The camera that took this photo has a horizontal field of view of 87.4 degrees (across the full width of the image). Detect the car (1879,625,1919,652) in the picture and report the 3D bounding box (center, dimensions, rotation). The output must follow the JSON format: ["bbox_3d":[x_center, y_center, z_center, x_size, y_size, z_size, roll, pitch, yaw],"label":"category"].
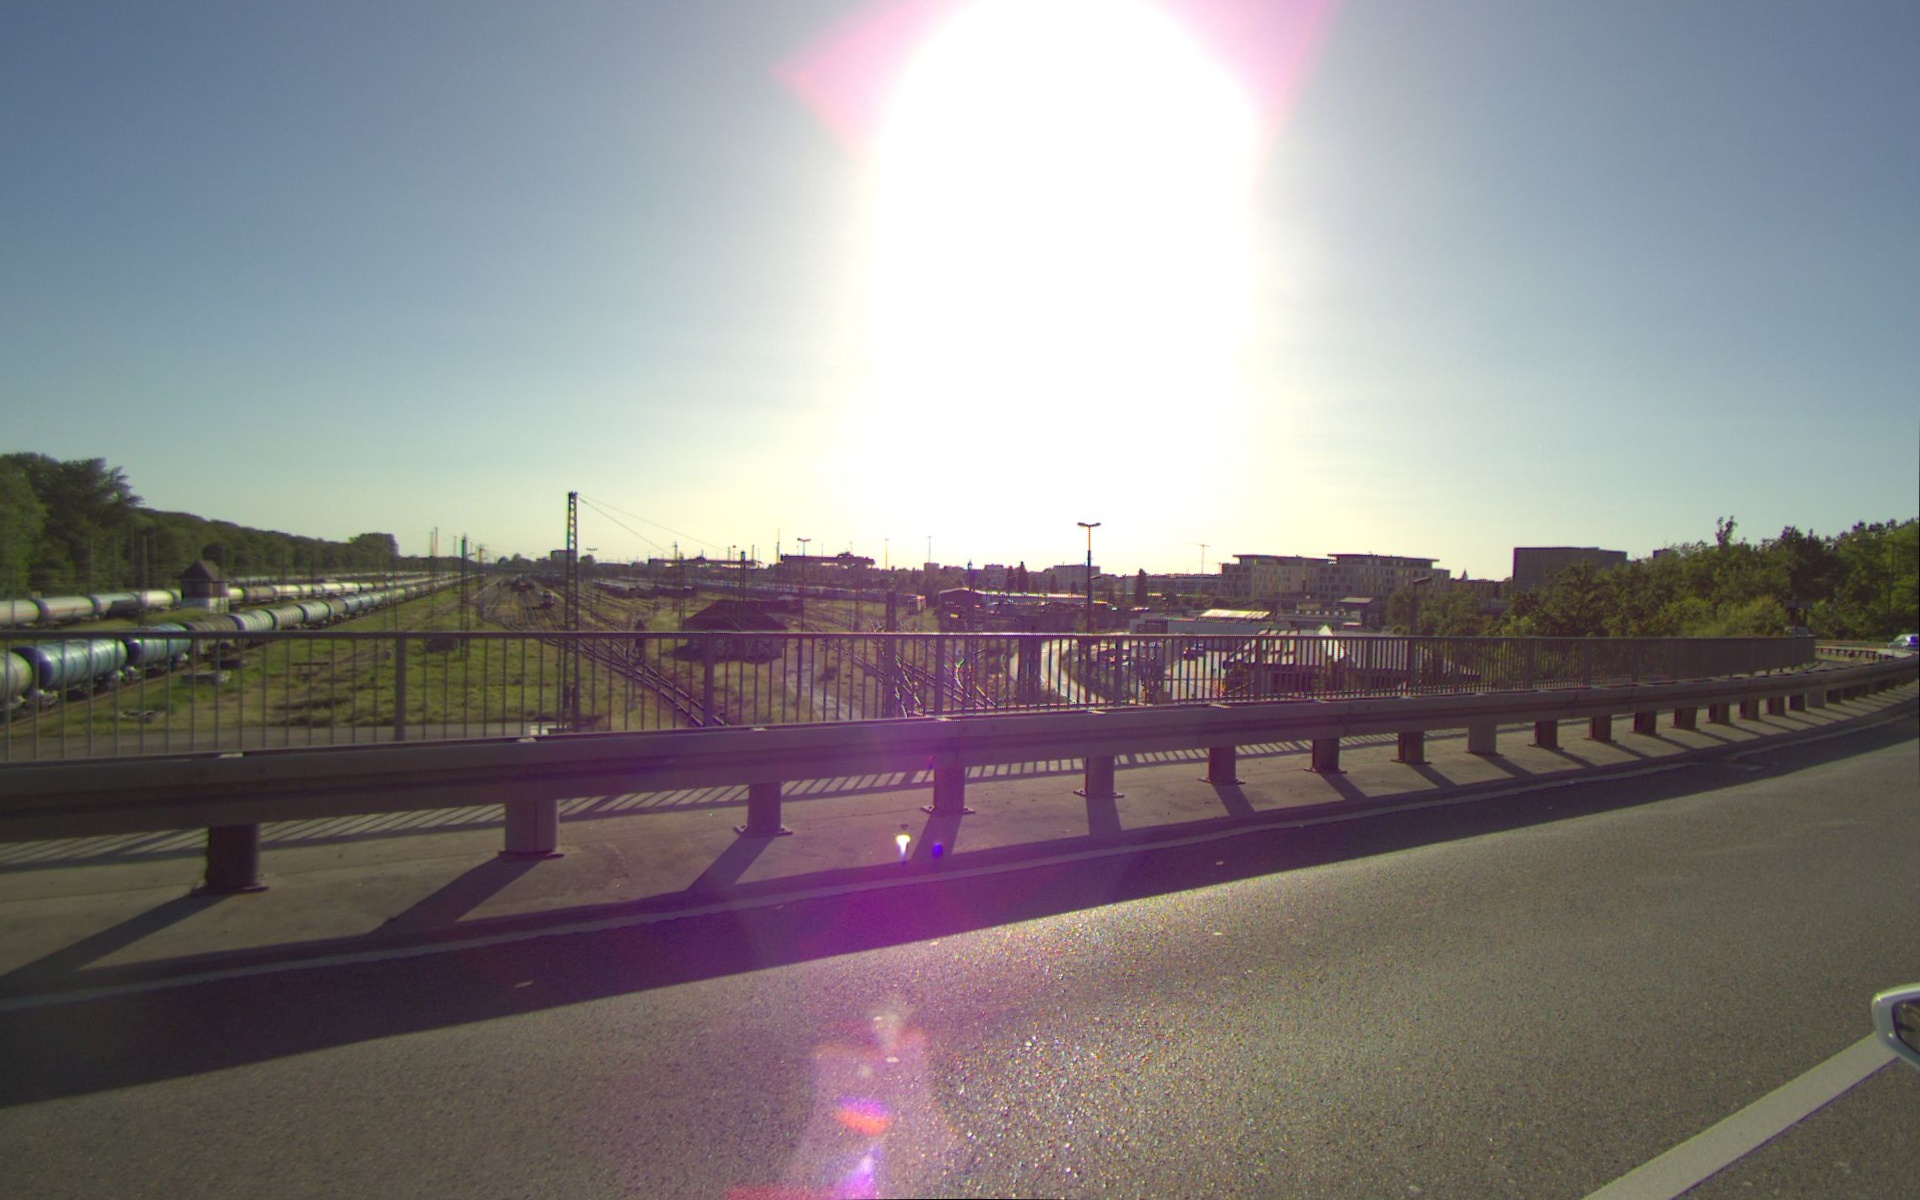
[{"bbox_3d":[59.598,2.399,62.956,1.830,1.606,3.911,1,-1,25],"label":"car"}]

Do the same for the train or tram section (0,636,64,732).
[{"bbox_3d":[-55.043,4.735,54.987,3.851,5.083,16.571,1,-1,-24],"label":"train or tram section"}]

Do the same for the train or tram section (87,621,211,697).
[{"bbox_3d":[-68.142,4.711,85.036,3.851,5.592,16.409,1,-1,-24],"label":"train or tram section"}]

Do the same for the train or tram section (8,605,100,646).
[{"bbox_3d":[-122.572,3.339,136.303,3.994,5.154,17.758,1,-1,-25],"label":"train or tram section"}]

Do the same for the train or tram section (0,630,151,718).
[{"bbox_3d":[-61.599,4.854,70.044,3.851,5.083,16.272,1,-1,-24],"label":"train or tram section"}]

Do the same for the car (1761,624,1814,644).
[{"bbox_3d":[68.296,2.795,82.950,1.804,1.576,3.896,1,-1,13],"label":"car"}]

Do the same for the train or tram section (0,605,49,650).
[{"bbox_3d":[-115.201,3.237,120.105,3.994,5.154,17.758,1,-1,-25],"label":"train or tram section"}]
